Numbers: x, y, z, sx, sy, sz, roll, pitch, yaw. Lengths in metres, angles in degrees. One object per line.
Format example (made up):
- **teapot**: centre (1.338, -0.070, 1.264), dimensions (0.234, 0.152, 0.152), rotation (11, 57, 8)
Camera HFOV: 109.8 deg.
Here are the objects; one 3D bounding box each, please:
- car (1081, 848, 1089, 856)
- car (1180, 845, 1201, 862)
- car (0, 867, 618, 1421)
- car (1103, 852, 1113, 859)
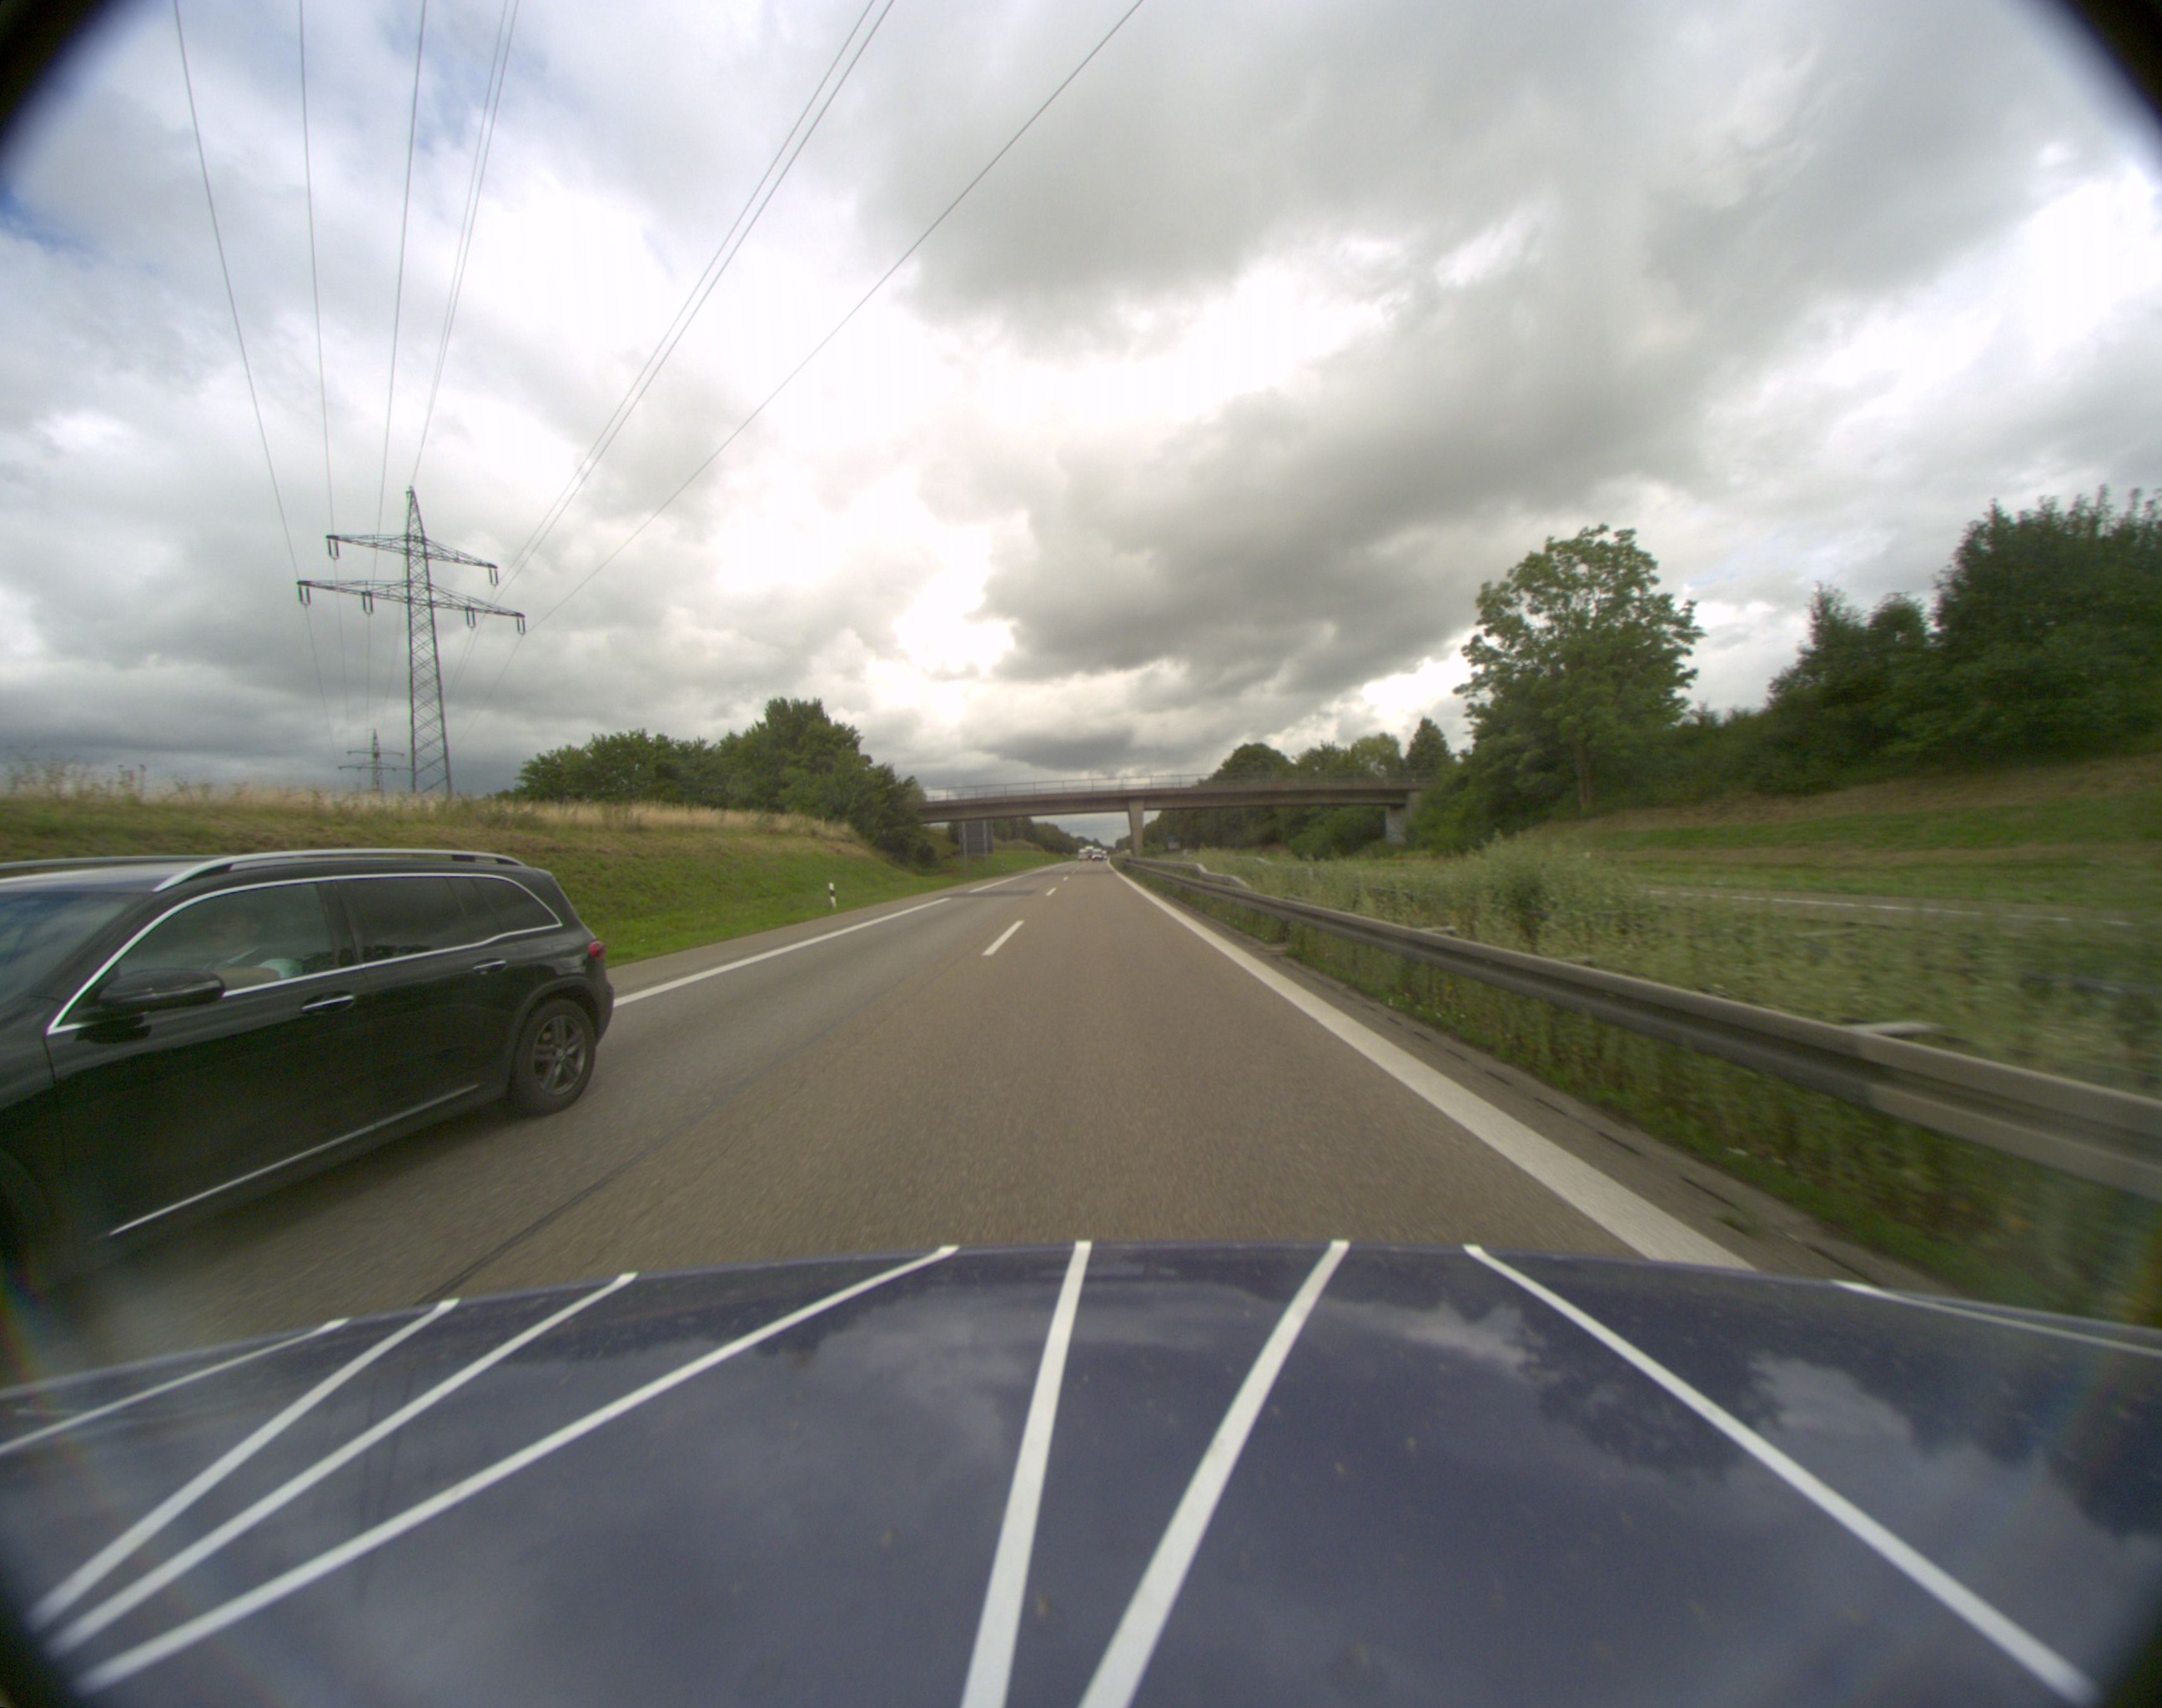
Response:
- **car**: centre (0.941, -0.475, 180.452), dimensions (1.833, 1.849, 5.789), rotation (-1, 0, -1)
- **car**: centre (13.488, -0.075, 94.066), dimensions (1.998, 2.002, 3.999), rotation (-2, 1, 1)
- **car**: centre (-4.211, 0.936, 3.133), dimensions (1.838, 1.600, 4.360), rotation (-1, 1, 1)
- **car**: centre (6.502, 0.365, 182.705), dimensions (1.999, 1.695, 4.662), rotation (-4, -1, -1)
